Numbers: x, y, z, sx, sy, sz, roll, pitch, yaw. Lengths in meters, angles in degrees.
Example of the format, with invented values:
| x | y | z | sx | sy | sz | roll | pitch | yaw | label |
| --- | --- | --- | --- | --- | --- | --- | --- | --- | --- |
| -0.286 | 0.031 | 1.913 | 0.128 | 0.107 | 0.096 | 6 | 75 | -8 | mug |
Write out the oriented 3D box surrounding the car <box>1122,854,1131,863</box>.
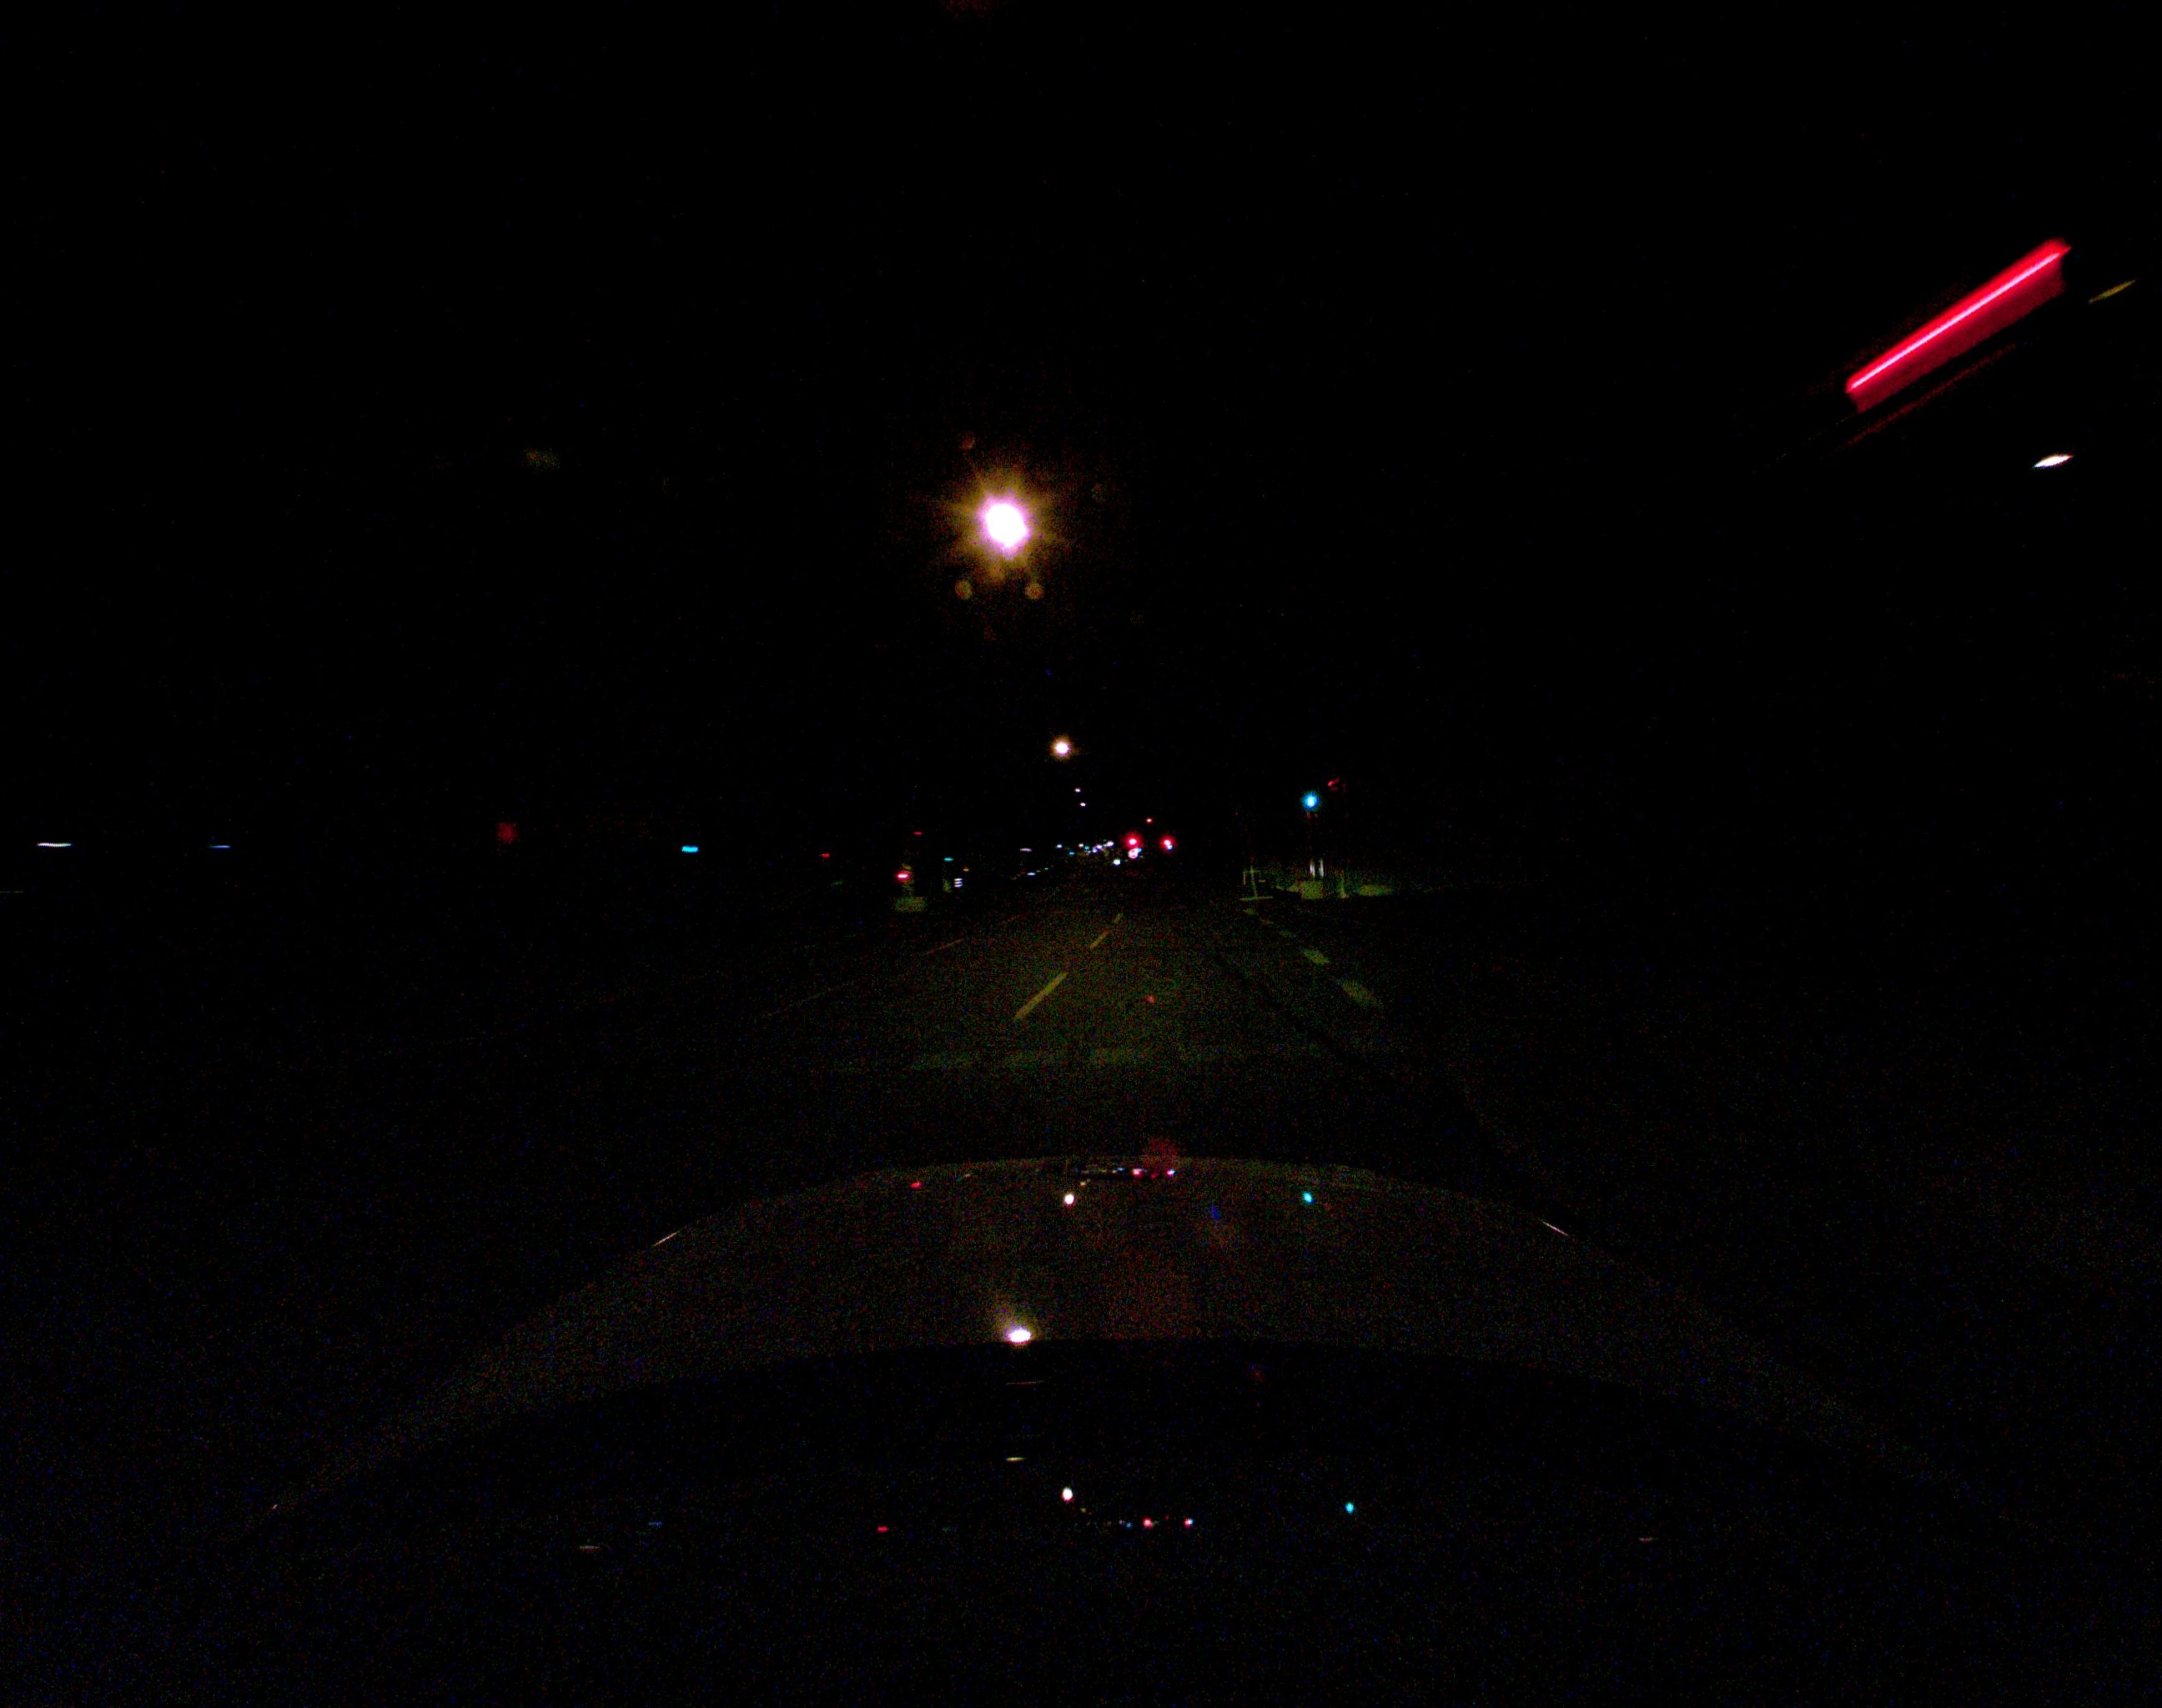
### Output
| x | y | z | sx | sy | sz | roll | pitch | yaw | label |
| --- | --- | --- | --- | --- | --- | --- | --- | --- | --- |
| 8.770 | 0.859 | 157.880 | 1.645 | 1.431 | 4.003 | -4 | 0 | 3 | car |

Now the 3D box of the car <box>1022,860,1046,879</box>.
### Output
| x | y | z | sx | sy | sz | roll | pitch | yaw | label |
| --- | --- | --- | --- | --- | --- | --- | --- | --- | --- |
| -4.177 | 1.351 | 73.014 | 1.763 | 1.485 | 4.766 | -4 | 0 | -1 | car |

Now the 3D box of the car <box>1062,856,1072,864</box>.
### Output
| x | y | z | sx | sy | sz | roll | pitch | yaw | label |
| --- | --- | --- | --- | --- | --- | --- | --- | --- | --- |
| -2.708 | 1.067 | 155.398 | 1.645 | 1.431 | 4.001 | -4 | 0 | 1 | car |

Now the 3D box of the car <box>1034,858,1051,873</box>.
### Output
| x | y | z | sx | sy | sz | roll | pitch | yaw | label |
| --- | --- | --- | --- | --- | --- | --- | --- | --- | --- |
| -4.059 | 1.188 | 86.547 | 1.618 | 1.382 | 4.449 | -4 | 0 | -2 | car |

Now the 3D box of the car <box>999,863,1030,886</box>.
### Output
| x | y | z | sx | sy | sz | roll | pitch | yaw | label |
| --- | --- | --- | --- | --- | --- | --- | --- | --- | --- |
| -4.623 | 1.431 | 56.888 | 1.708 | 1.494 | 3.989 | -2 | -2 | 1 | car |

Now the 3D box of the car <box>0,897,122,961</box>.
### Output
| x | y | z | sx | sy | sz | roll | pitch | yaw | label |
| --- | --- | --- | --- | --- | --- | --- | --- | --- | --- |
| -31.164 | 2.220 | 23.433 | 1.985 | 1.640 | 4.189 | -4 | 0 | 3 | car |

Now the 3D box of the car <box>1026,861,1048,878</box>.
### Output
| x | y | z | sx | sy | sz | roll | pitch | yaw | label |
| --- | --- | --- | --- | --- | --- | --- | --- | --- | --- |
| -4.192 | 1.440 | 78.204 | 1.762 | 1.485 | 4.864 | -4 | 0 | 0 | car |

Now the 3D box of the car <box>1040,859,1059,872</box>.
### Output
| x | y | z | sx | sy | sz | roll | pitch | yaw | label |
| --- | --- | --- | --- | --- | --- | --- | --- | --- | --- |
| -3.826 | 1.392 | 99.710 | 1.892 | 1.471 | 4.453 | -1 | 0 | 1 | car |

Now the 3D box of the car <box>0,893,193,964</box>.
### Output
| x | y | z | sx | sy | sz | roll | pitch | yaw | label |
| --- | --- | --- | --- | --- | --- | --- | --- | --- | --- |
| -28.560 | 2.088 | 23.201 | 1.985 | 1.640 | 4.003 | -4 | 0 | 3 | car |
